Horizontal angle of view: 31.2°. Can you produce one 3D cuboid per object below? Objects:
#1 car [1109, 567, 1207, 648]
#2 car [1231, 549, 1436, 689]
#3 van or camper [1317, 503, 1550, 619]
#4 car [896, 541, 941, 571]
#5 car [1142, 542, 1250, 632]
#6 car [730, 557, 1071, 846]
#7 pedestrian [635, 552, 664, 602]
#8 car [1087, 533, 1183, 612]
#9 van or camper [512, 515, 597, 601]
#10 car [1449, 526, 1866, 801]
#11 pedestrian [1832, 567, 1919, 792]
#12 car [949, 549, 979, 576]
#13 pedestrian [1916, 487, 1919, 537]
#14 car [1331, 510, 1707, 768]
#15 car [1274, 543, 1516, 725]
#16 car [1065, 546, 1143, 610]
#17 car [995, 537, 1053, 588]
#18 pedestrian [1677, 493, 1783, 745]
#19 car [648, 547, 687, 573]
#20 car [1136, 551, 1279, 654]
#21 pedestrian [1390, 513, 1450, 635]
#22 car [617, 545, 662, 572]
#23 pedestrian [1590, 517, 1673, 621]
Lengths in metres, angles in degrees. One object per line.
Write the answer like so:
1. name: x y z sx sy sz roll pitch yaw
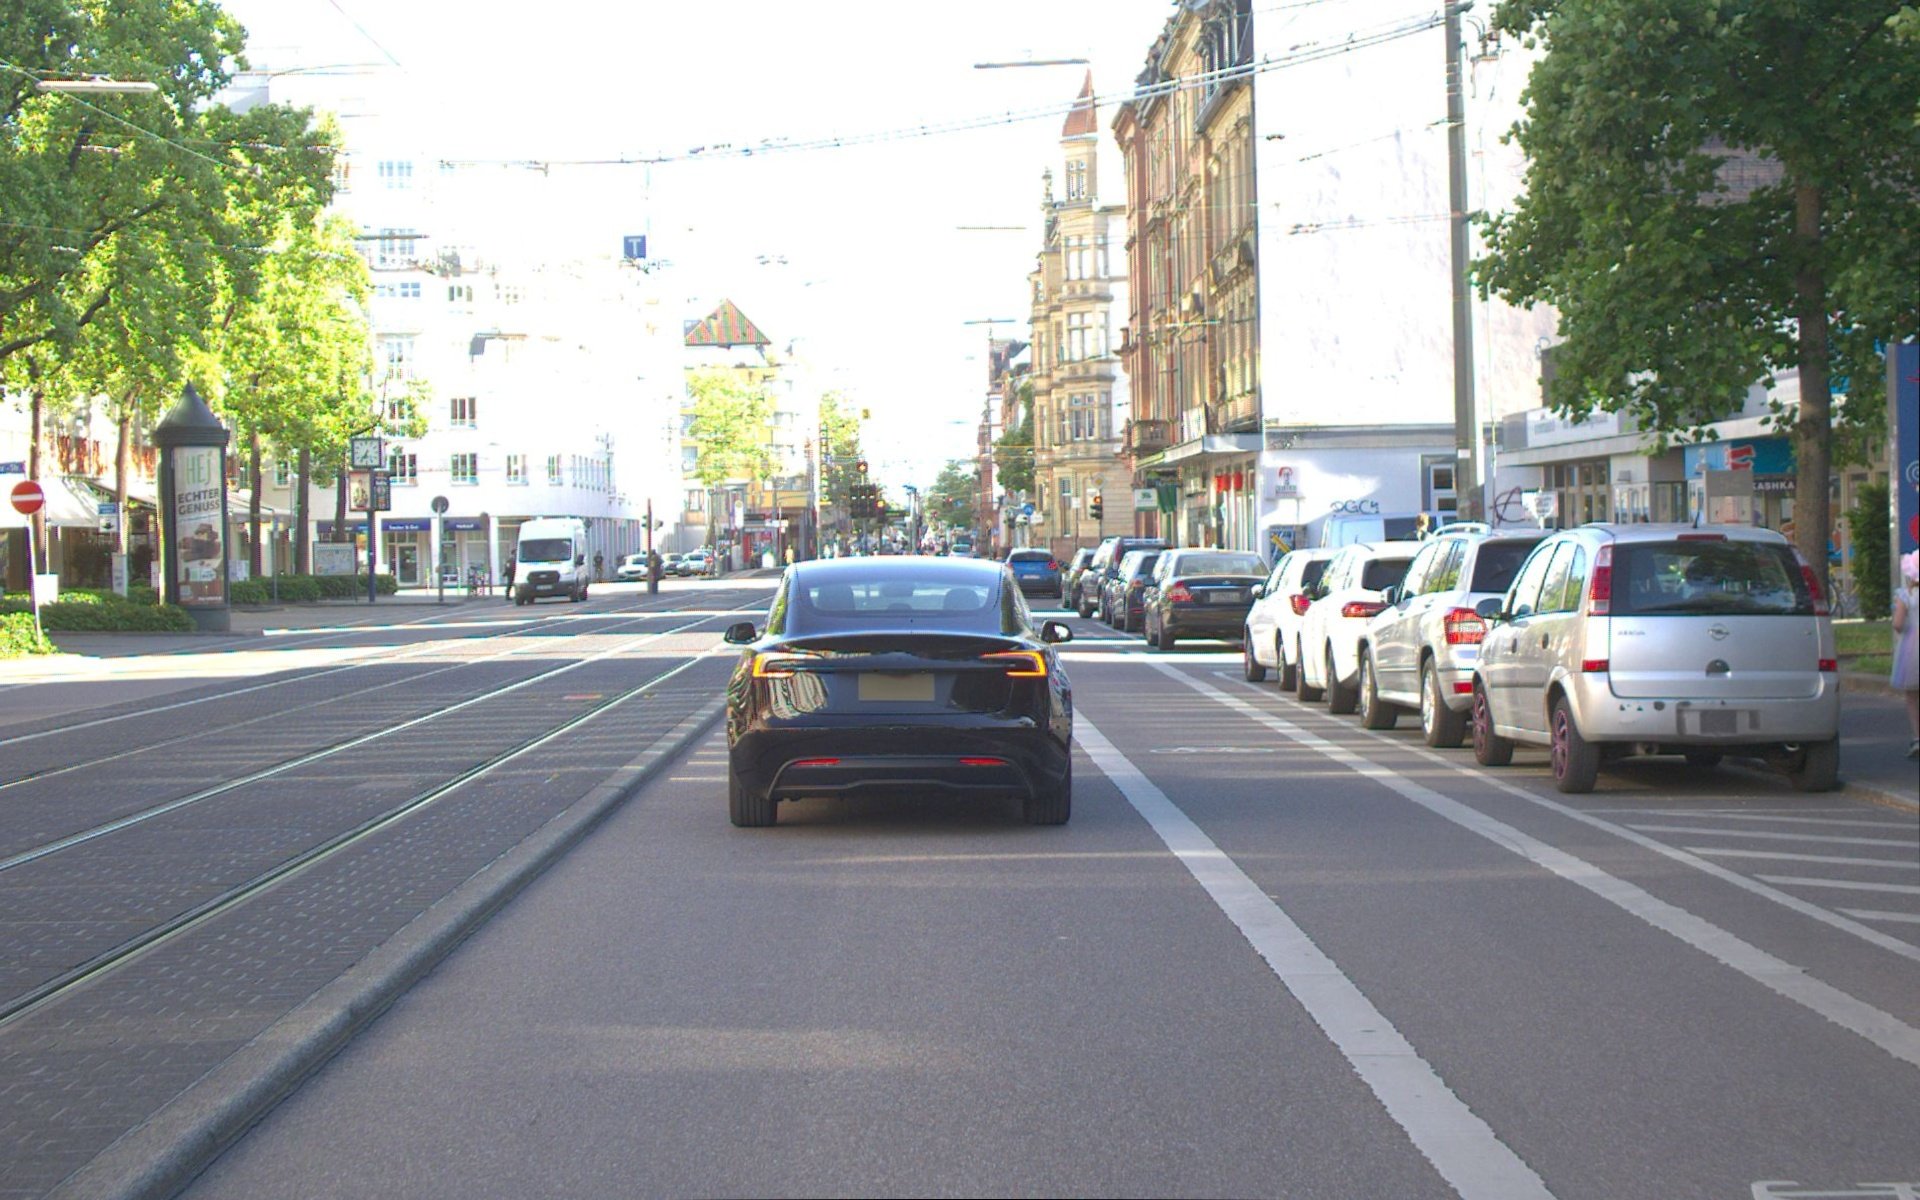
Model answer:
1. car: 3.578 0.125 62.621 1.461 1.427 3.814 -1 0 -1
2. car: 4.037 0.172 37.692 1.601 1.438 3.885 1 1 -3
3. van or camper: 10.053 -0.832 73.302 4.644 2.129 1.987 -4 1 4
4. car: -2.124 -2.257 175.665 1.993 1.520 4.001 -1 1 -5
5. car: 3.900 -0.222 57.250 1.578 1.442 3.309 -1 0 0
6. car: -0.355 0.491 19.235 1.719 1.400 3.710 0 2 -2
7. pedestrian: -10.584 -0.798 117.128 0.845 1.689 0.796 0 1 7
8. car: 3.685 -0.576 72.937 1.829 1.622 4.095 -1 0 0
9. van or camper: -13.154 -1.370 111.895 2.139 2.645 6.881 -2 1 -2
10. car: 4.350 0.326 22.038 1.713 1.585 4.066 0 1 -2
11. pedestrian: 5.981 0.507 22.232 0.456 1.393 0.422 -6 0 4
12. car: 0.240 -2.419 221.838 1.846 1.587 4.000 -2 1 0
13. pedestrian: 6.549 0.224 22.151 0.465 1.947 0.747 -5 1 5
14. car: 4.255 0.218 26.935 1.925 1.828 4.713 0 1 -3
15. car: 4.005 0.265 32.288 1.541 1.564 4.444 0 1 -2
16. car: 3.478 -0.561 83.711 1.715 1.467 3.719 -2 1 0
17. car: 1.874 -1.116 101.522 1.593 1.428 3.686 -2 1 0
18. pedestrian: 5.647 0.134 25.241 0.611 1.802 0.602 -2 1 4
19. car: -17.753 -2.437 208.695 1.993 1.490 4.000 -2 1 -1
20. car: 3.634 0.005 51.119 1.710 1.452 4.551 0 1 -1
21. pedestrian: 6.928 -0.394 51.768 0.721 1.806 0.889 -2 1 -1
22. car: -17.154 -2.210 184.069 1.993 1.363 4.000 -2 1 -1
23. pedestrian: 11.567 -0.531 59.174 1.155 1.722 1.042 -1 2 24
